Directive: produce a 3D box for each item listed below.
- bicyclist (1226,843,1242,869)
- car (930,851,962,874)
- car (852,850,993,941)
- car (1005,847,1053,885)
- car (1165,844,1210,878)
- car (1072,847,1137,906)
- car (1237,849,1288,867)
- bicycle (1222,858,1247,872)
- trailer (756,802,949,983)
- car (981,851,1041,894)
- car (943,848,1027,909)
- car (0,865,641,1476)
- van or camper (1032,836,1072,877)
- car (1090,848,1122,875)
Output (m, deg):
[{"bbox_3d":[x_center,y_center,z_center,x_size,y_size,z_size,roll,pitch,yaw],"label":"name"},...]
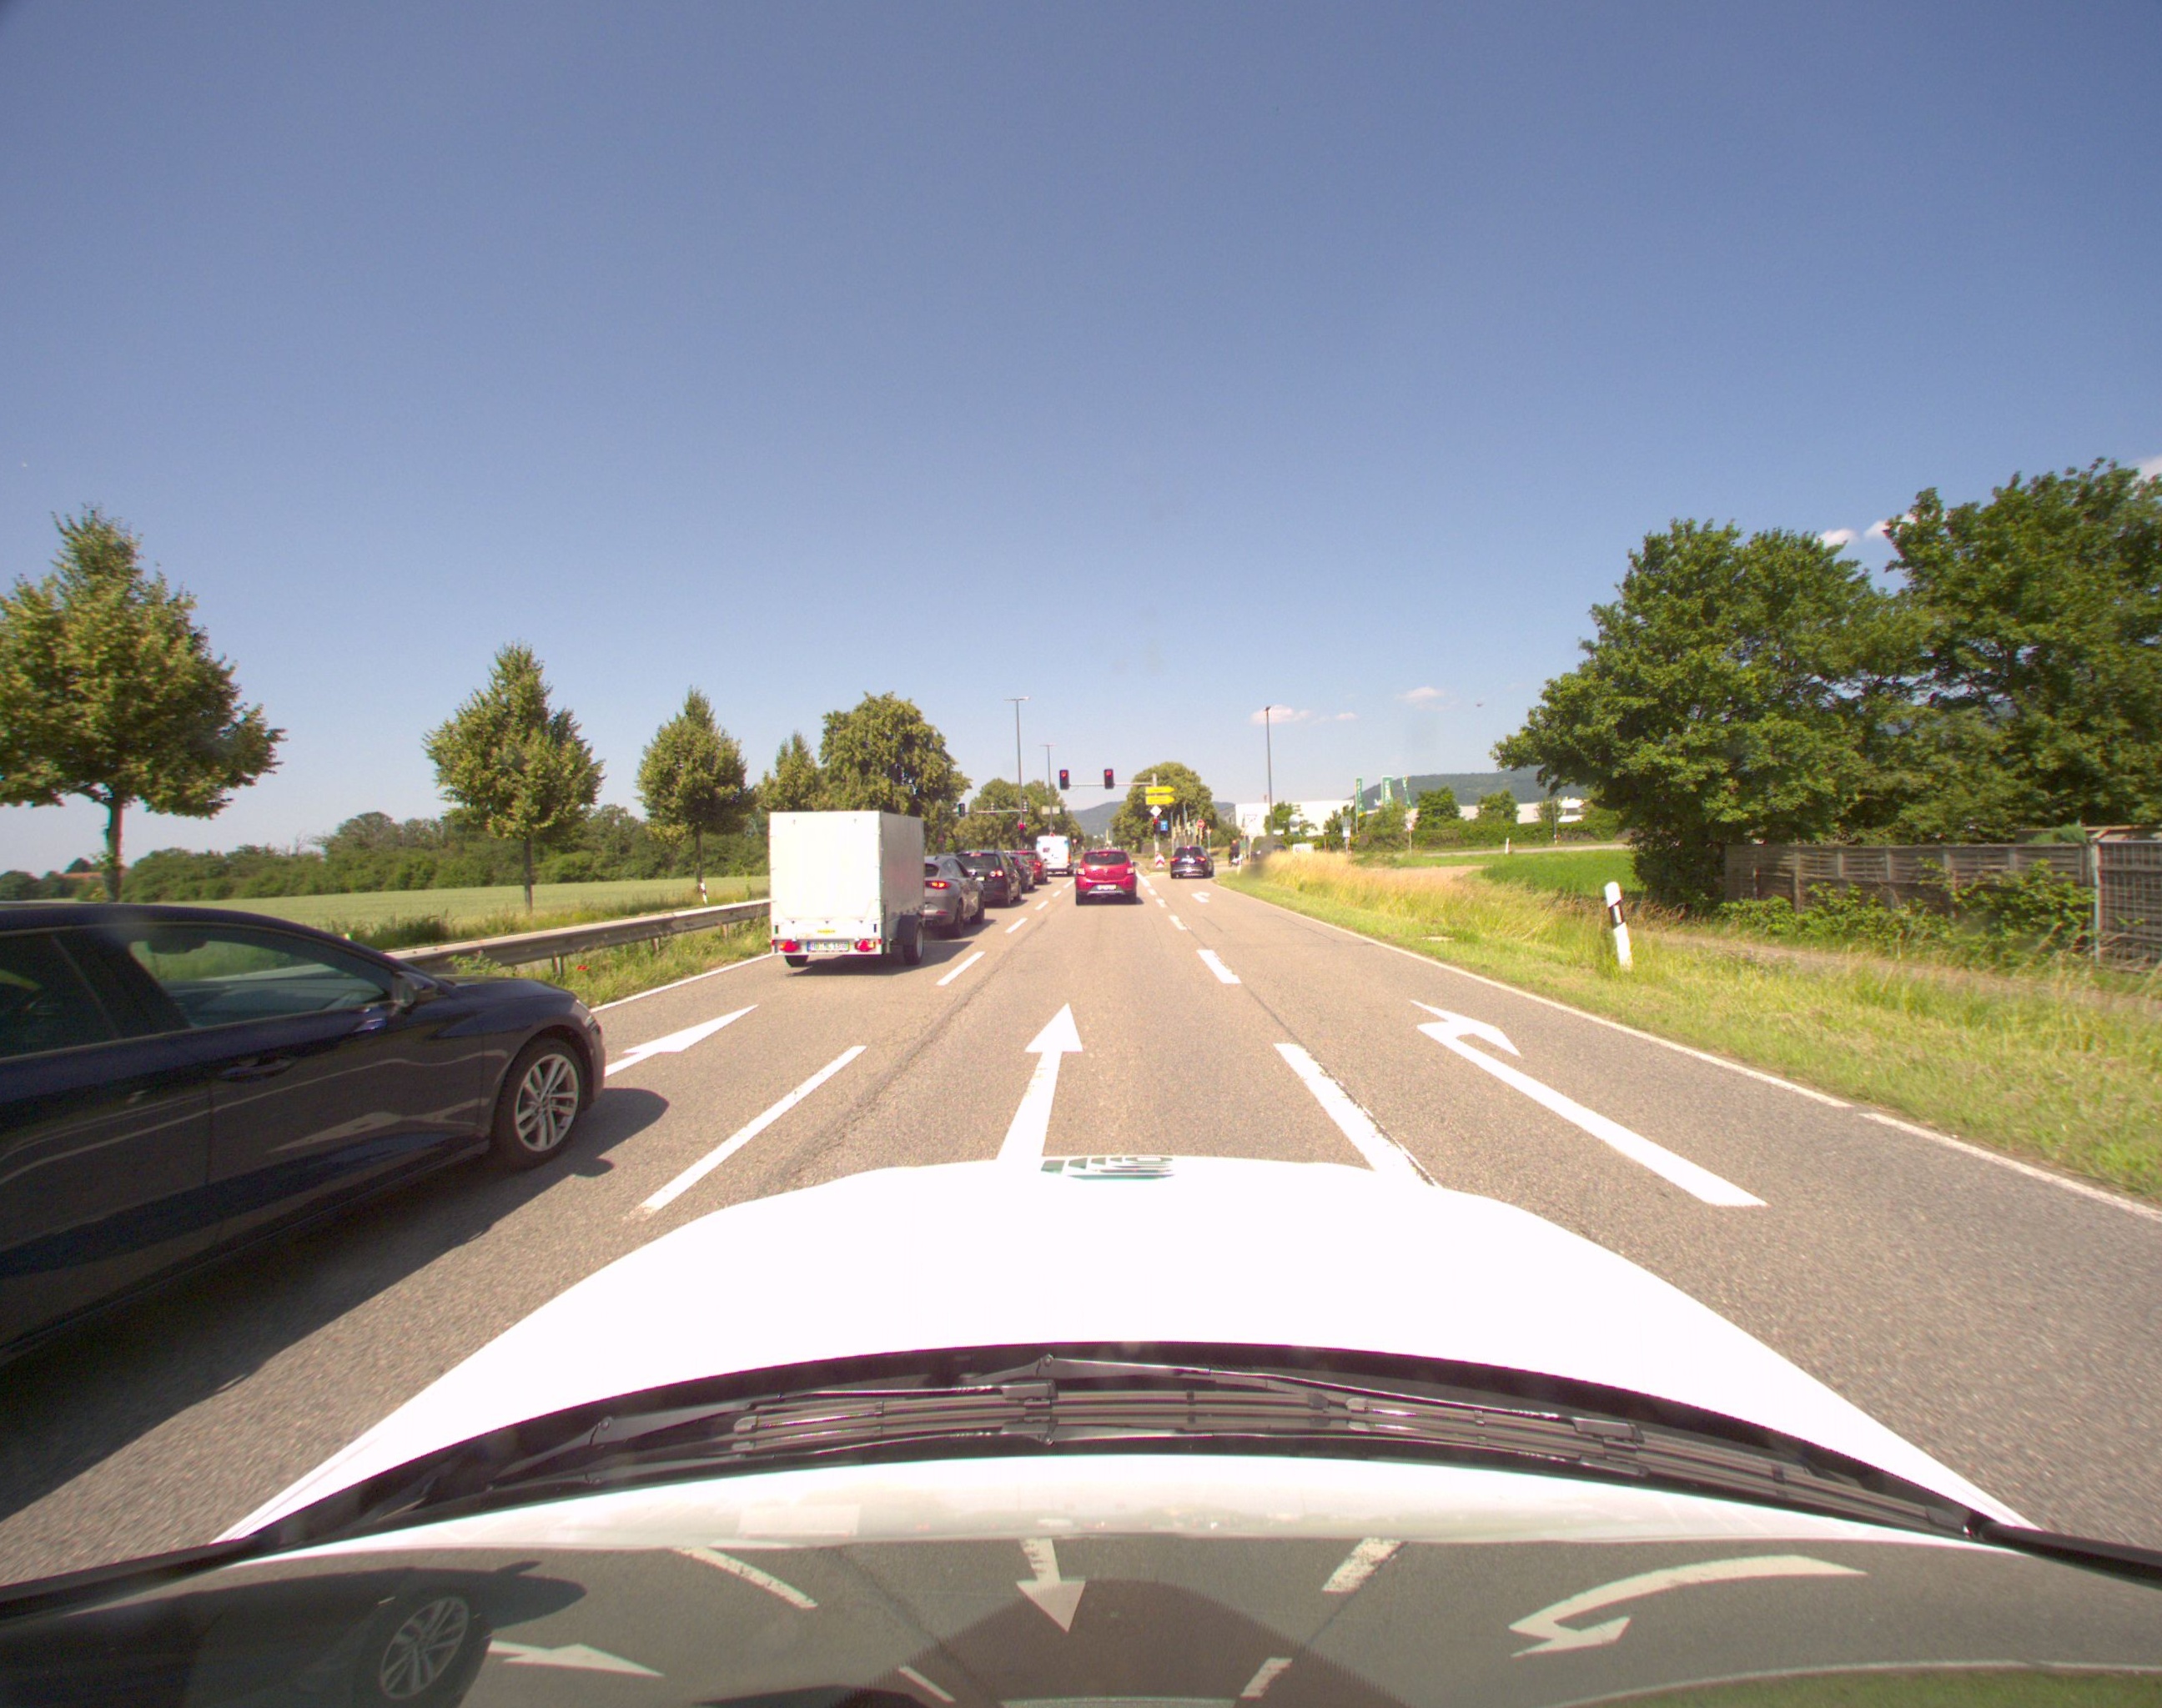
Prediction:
[{"bbox_3d":[10.722,0.142,57.161,0.802,1.771,0.805,-2,0,-11],"label":"bicyclist"},{"bbox_3d":[-11.799,0.680,71.503,1.851,1.855,4.697,-2,0,1],"label":"car"},{"bbox_3d":[-2.934,0.693,16.023,1.739,1.503,4.365,-2,0,2],"label":"car"},{"bbox_3d":[-2.314,0.516,37.249,1.717,1.600,3.958,-1,0,3],"label":"car"},{"bbox_3d":[5.360,0.322,41.549,1.985,1.616,4.344,-1,0,4],"label":"car"},{"bbox_3d":[0.750,0.588,23.789,1.742,1.575,3.680,-1,0,4],"label":"car"},{"bbox_3d":[15.129,0.336,68.022,3.963,1.327,1.811,-2,0,9],"label":"car"},{"bbox_3d":[10.768,0.759,57.206,0.762,0.915,2.769,-2,0,-11],"label":"bicycle"},{"bbox_3d":[-3.128,0.465,12.011,1.495,2.173,4.176,-1,0,2],"label":"trailer"},{"bbox_3d":[-2.546,0.636,30.457,1.695,1.442,3.958,0,1,3],"label":"car"},{"bbox_3d":[-2.654,0.642,23.290,1.716,1.575,3.895,-1,0,3],"label":"car"},{"bbox_3d":[-3.526,0.823,2.789,1.710,1.465,4.032,-1,0,2],"label":"car"},{"bbox_3d":[-1.623,0.127,47.655,2.172,2.302,4.826,-1,0,0],"label":"van or camper"},{"bbox_3d":[1.506,0.429,47.613,1.742,1.458,3.680,-1,0,4],"label":"car"}]
